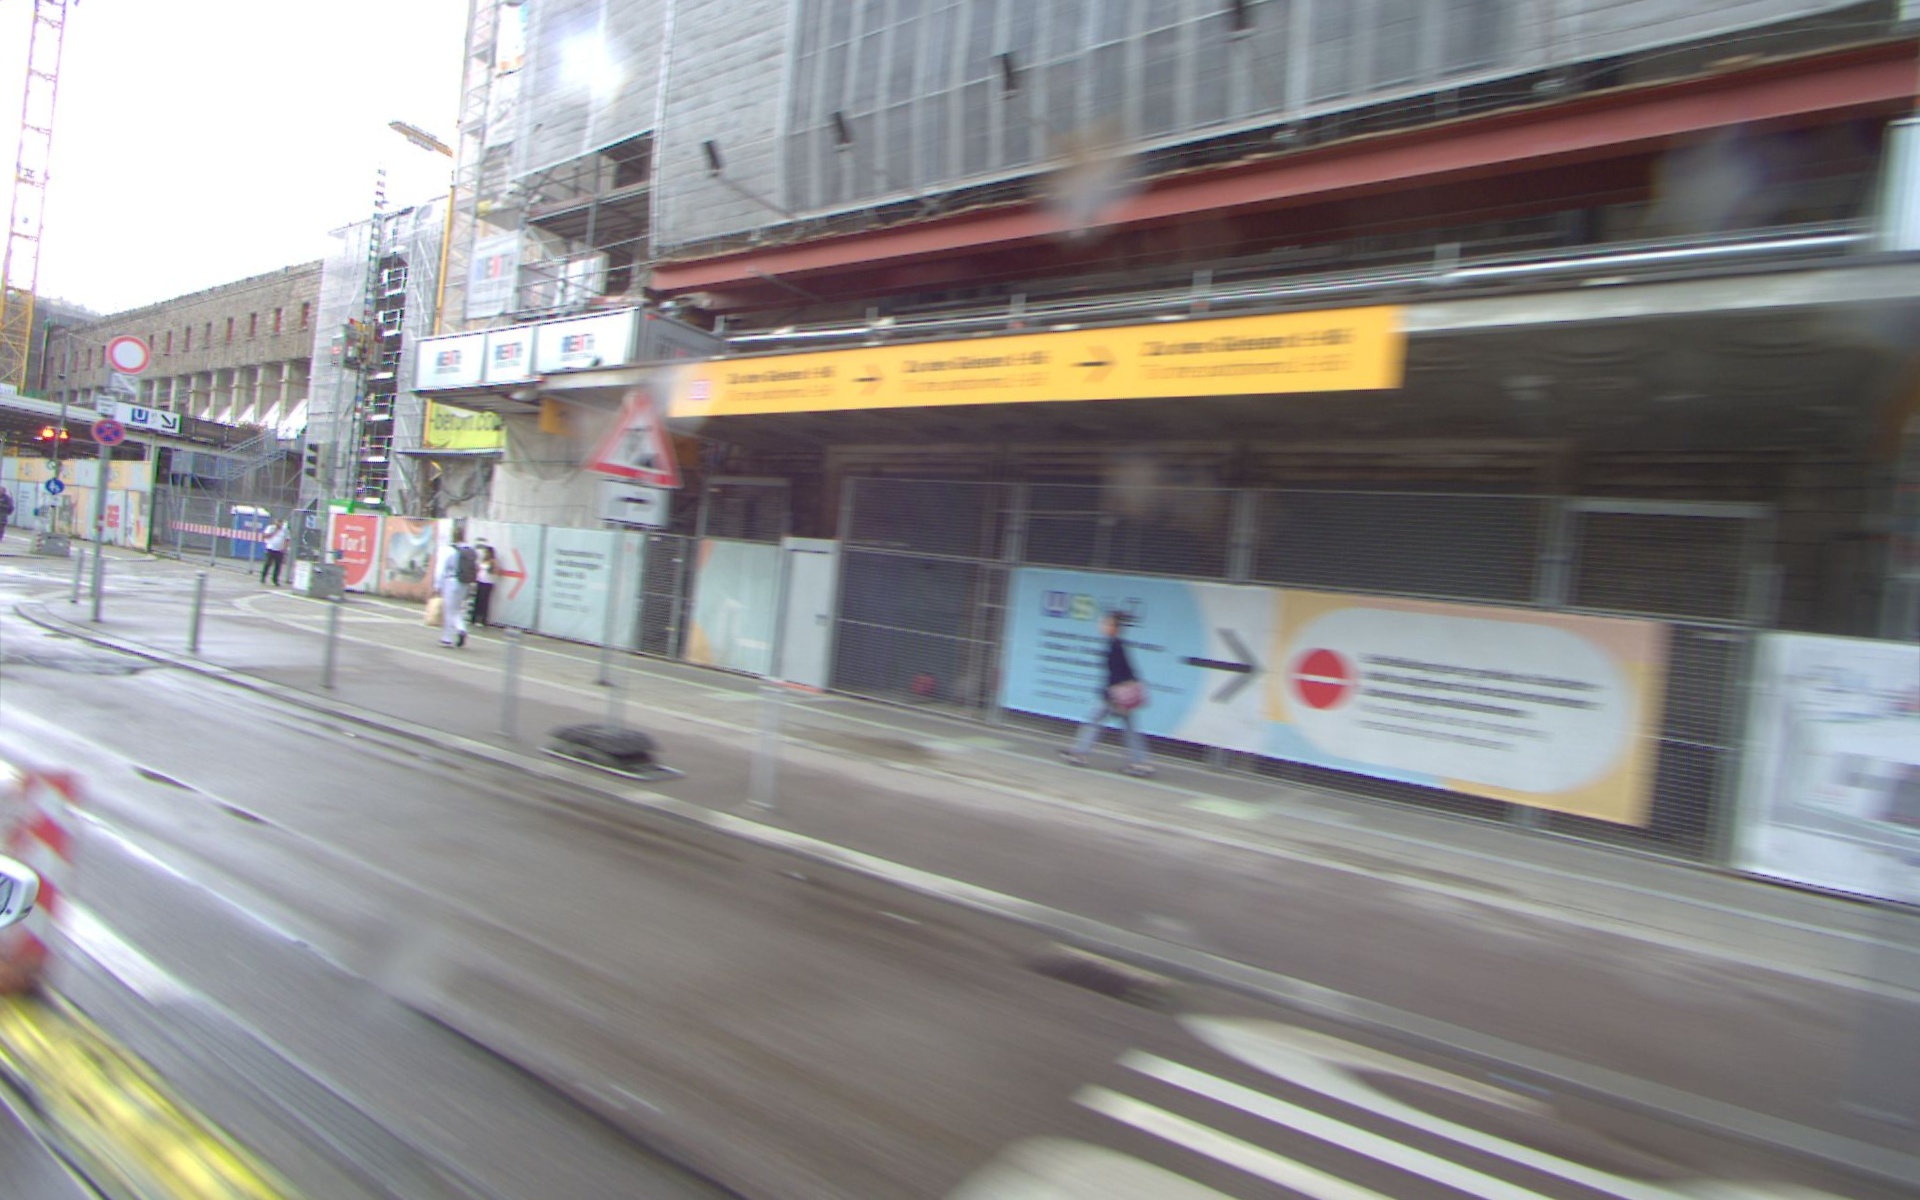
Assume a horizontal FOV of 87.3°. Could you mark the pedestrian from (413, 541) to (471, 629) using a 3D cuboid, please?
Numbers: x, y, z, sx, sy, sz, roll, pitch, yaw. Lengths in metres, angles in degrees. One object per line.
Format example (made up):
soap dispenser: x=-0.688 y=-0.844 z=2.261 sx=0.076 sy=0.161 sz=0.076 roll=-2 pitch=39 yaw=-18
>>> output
pedestrian: x=-9.653 y=-0.279 z=18.741 sx=0.655 sy=1.560 sz=0.650 roll=7 pitch=3 yaw=36

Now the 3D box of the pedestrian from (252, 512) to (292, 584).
pedestrian: x=-18.748 y=-1.416 z=27.405 sx=0.648 sy=1.873 sz=0.644 roll=7 pitch=3 yaw=35

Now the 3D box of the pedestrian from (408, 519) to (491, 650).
pedestrian: x=-7.649 y=-0.227 z=15.064 sx=0.797 sy=1.873 sz=0.722 roll=7 pitch=3 yaw=35

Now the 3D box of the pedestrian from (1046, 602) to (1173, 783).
pedestrian: x=1.500 y=0.898 z=10.142 sx=0.980 sy=1.654 sz=0.549 roll=7 pitch=3 yaw=35

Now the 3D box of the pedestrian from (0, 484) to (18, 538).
pedestrian: x=-30.561 y=-2.849 z=31.752 sx=0.899 sy=1.655 sz=0.822 roll=7 pitch=0 yaw=-28
